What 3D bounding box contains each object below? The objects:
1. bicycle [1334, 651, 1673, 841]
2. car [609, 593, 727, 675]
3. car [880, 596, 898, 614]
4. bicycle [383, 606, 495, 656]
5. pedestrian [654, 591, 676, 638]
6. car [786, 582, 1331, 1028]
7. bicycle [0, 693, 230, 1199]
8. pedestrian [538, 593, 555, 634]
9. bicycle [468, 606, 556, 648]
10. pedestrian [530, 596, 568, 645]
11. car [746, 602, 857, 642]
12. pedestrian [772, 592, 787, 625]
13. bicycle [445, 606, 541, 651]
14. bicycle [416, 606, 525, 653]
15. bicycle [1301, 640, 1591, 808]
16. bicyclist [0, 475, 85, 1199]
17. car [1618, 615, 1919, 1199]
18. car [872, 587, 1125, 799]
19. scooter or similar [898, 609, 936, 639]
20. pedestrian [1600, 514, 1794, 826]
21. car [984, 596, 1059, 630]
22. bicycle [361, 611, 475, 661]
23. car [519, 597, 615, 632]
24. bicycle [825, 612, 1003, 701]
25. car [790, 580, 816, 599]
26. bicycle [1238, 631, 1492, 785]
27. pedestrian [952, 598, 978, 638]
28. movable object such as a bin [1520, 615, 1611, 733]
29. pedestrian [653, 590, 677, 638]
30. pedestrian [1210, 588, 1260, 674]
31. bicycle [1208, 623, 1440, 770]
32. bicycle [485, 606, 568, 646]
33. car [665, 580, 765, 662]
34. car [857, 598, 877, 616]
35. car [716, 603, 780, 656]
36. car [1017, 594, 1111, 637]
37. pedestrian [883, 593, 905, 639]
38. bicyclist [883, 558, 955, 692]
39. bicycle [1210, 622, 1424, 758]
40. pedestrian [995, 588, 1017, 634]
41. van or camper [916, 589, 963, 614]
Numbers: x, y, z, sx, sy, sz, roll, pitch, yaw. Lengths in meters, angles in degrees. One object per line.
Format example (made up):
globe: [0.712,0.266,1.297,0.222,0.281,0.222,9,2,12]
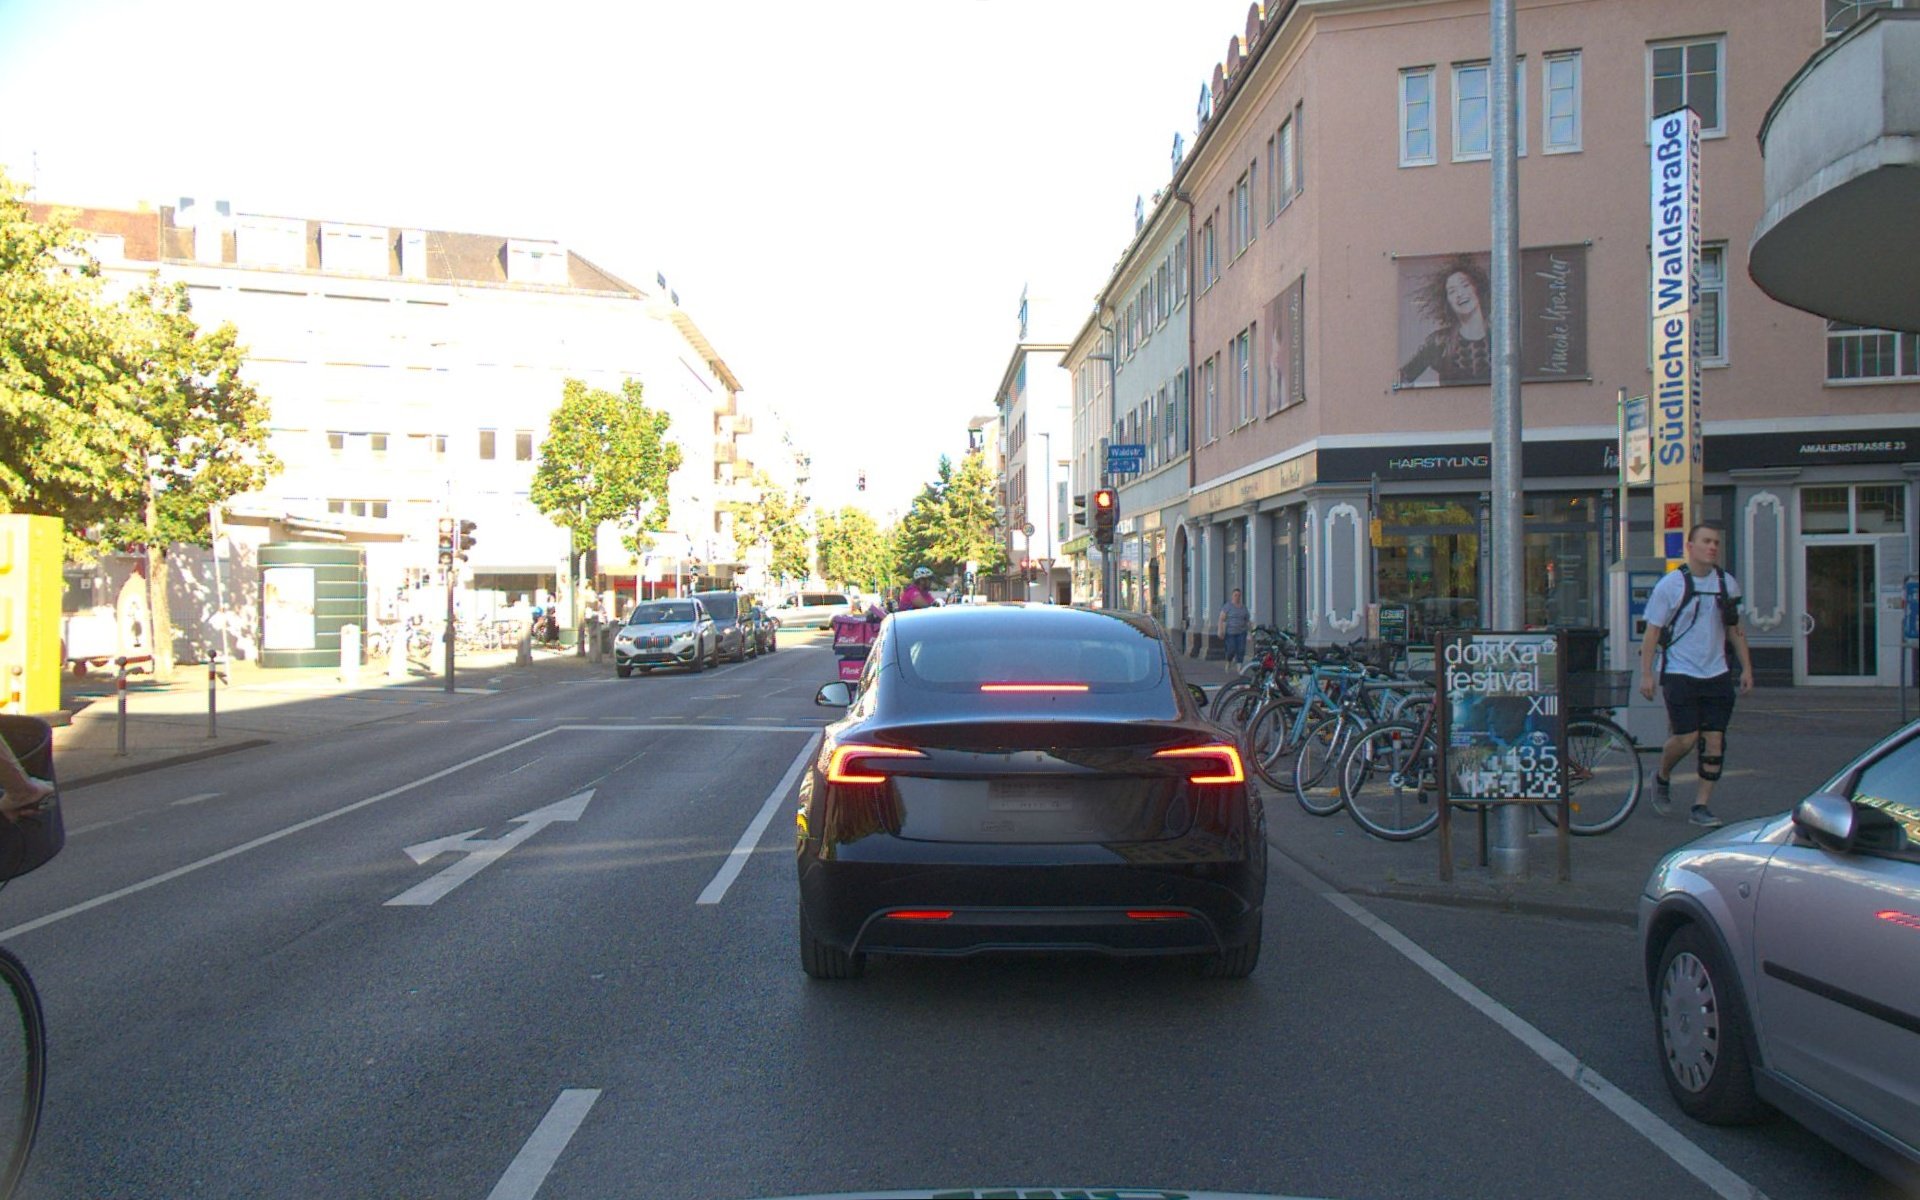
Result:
bicycle: [3.282,0.874,10.096,1.844,1.062,0.653,-1,0,0]
car: [-6.320,0.710,36.242,1.788,1.592,4.299,-4,0,-1]
car: [-7.659,0.540,178.520,1.854,1.845,3.923,1,0,-2]
bicycle: [-14.121,0.843,44.928,2.725,1.296,0.932,1,0,-4]
pedestrian: [-11.356,0.539,63.687,0.650,1.790,0.648,1,-1,-27]
car: [0.303,0.699,7.777,1.812,1.472,4.450,1,0,-1]
bicycle: [-2.150,0.859,3.127,0.615,1.244,2.001,1,0,0]
pedestrian: [-15.828,0.527,63.299,0.614,1.550,0.577,1,-1,-15]
bicycle: [-14.059,0.849,51.922,2.491,1.273,0.942,1,0,-4]
pedestrian: [-13.831,0.682,55.677,1.077,1.639,1.259,1,0,-20]
car: [-7.740,1.034,80.692,5.124,1.899,1.871,0,0,-23]
pedestrian: [-10.595,0.494,96.854,0.721,1.900,0.787,1,-1,-17]
bicycle: [-14.007,0.845,49.648,2.609,1.281,0.942,1,0,-4]
bicycle: [-13.998,0.830,47.329,2.818,1.292,0.942,1,0,-4]
bicycle: [3.253,0.821,11.168,1.776,1.078,0.653,0,0,0]
bicyclist: [-2.133,0.511,2.954,0.594,1.510,0.958,1,0,0]
car: [2.925,0.780,3.543,1.551,1.451,3.579,1,0,-1]
car: [0.246,0.685,14.201,1.812,1.507,4.450,1,0,-1]
scooter or similar: [-1.718,0.967,65.781,1.317,1.154,0.803,1,-1,-25]
pedestrian: [4.611,0.421,10.411,0.792,1.855,0.983,1,0,2]
car: [3.401,0.687,91.127,3.908,1.819,2.044,0,0,11]
bicycle: [-13.947,0.924,42.591,2.607,1.216,0.942,1,0,-4]
car: [-17.997,0.644,75.842,4.069,1.557,1.538,0,0,-26]
bicycle: [-0.617,0.765,22.636,2.339,1.171,0.713,0,1,6]
car: [-17.019,-1.134,179.411,2.228,2.049,4.717,1,0,0]
bicycle: [3.053,0.804,12.572,1.776,1.121,0.653,0,0,0]
pedestrian: [0.218,0.737,68.150,0.800,1.637,0.700,1,-1,-38]
movable object such as a bin: [6.046,0.730,16.547,0.623,1.122,0.728,-2,0,3]
pedestrian: [-11.234,0.535,63.033,0.830,1.790,0.704,1,-1,-15]
pedestrian: [5.084,0.568,30.589,0.773,1.576,0.724,1,-1,0]
bicycle: [2.982,0.782,13.645,1.776,1.172,0.653,0,0,0]
bicycle: [-14.225,0.856,54.344,2.491,1.273,0.942,1,0,-4]
car: [-6.228,0.505,42.570,1.906,1.981,4.819,0,0,-1]
car: [-10.503,0.824,186.971,2.089,2.004,4.133,0,0,-1]
car: [-6.333,0.852,49.697,1.431,1.455,3.605,-3,0,-1]
car: [4.714,0.700,74.746,3.937,1.900,1.686,0,0,-22]
pedestrian: [-2.622,0.634,65.317,0.649,1.790,0.649,1,-1,-24]
bicyclist: [-0.553,0.347,22.637,0.845,1.786,0.681,-2,-1,7]
bicycle: [3.165,0.790,14.782,1.776,1.172,0.653,0,0,0]
pedestrian: [1.914,0.460,68.755,0.692,1.910,0.809,1,-1,19]
van or camper: [-2.069,0.166,167.525,4.752,2.481,1.850,0,0,-1]
